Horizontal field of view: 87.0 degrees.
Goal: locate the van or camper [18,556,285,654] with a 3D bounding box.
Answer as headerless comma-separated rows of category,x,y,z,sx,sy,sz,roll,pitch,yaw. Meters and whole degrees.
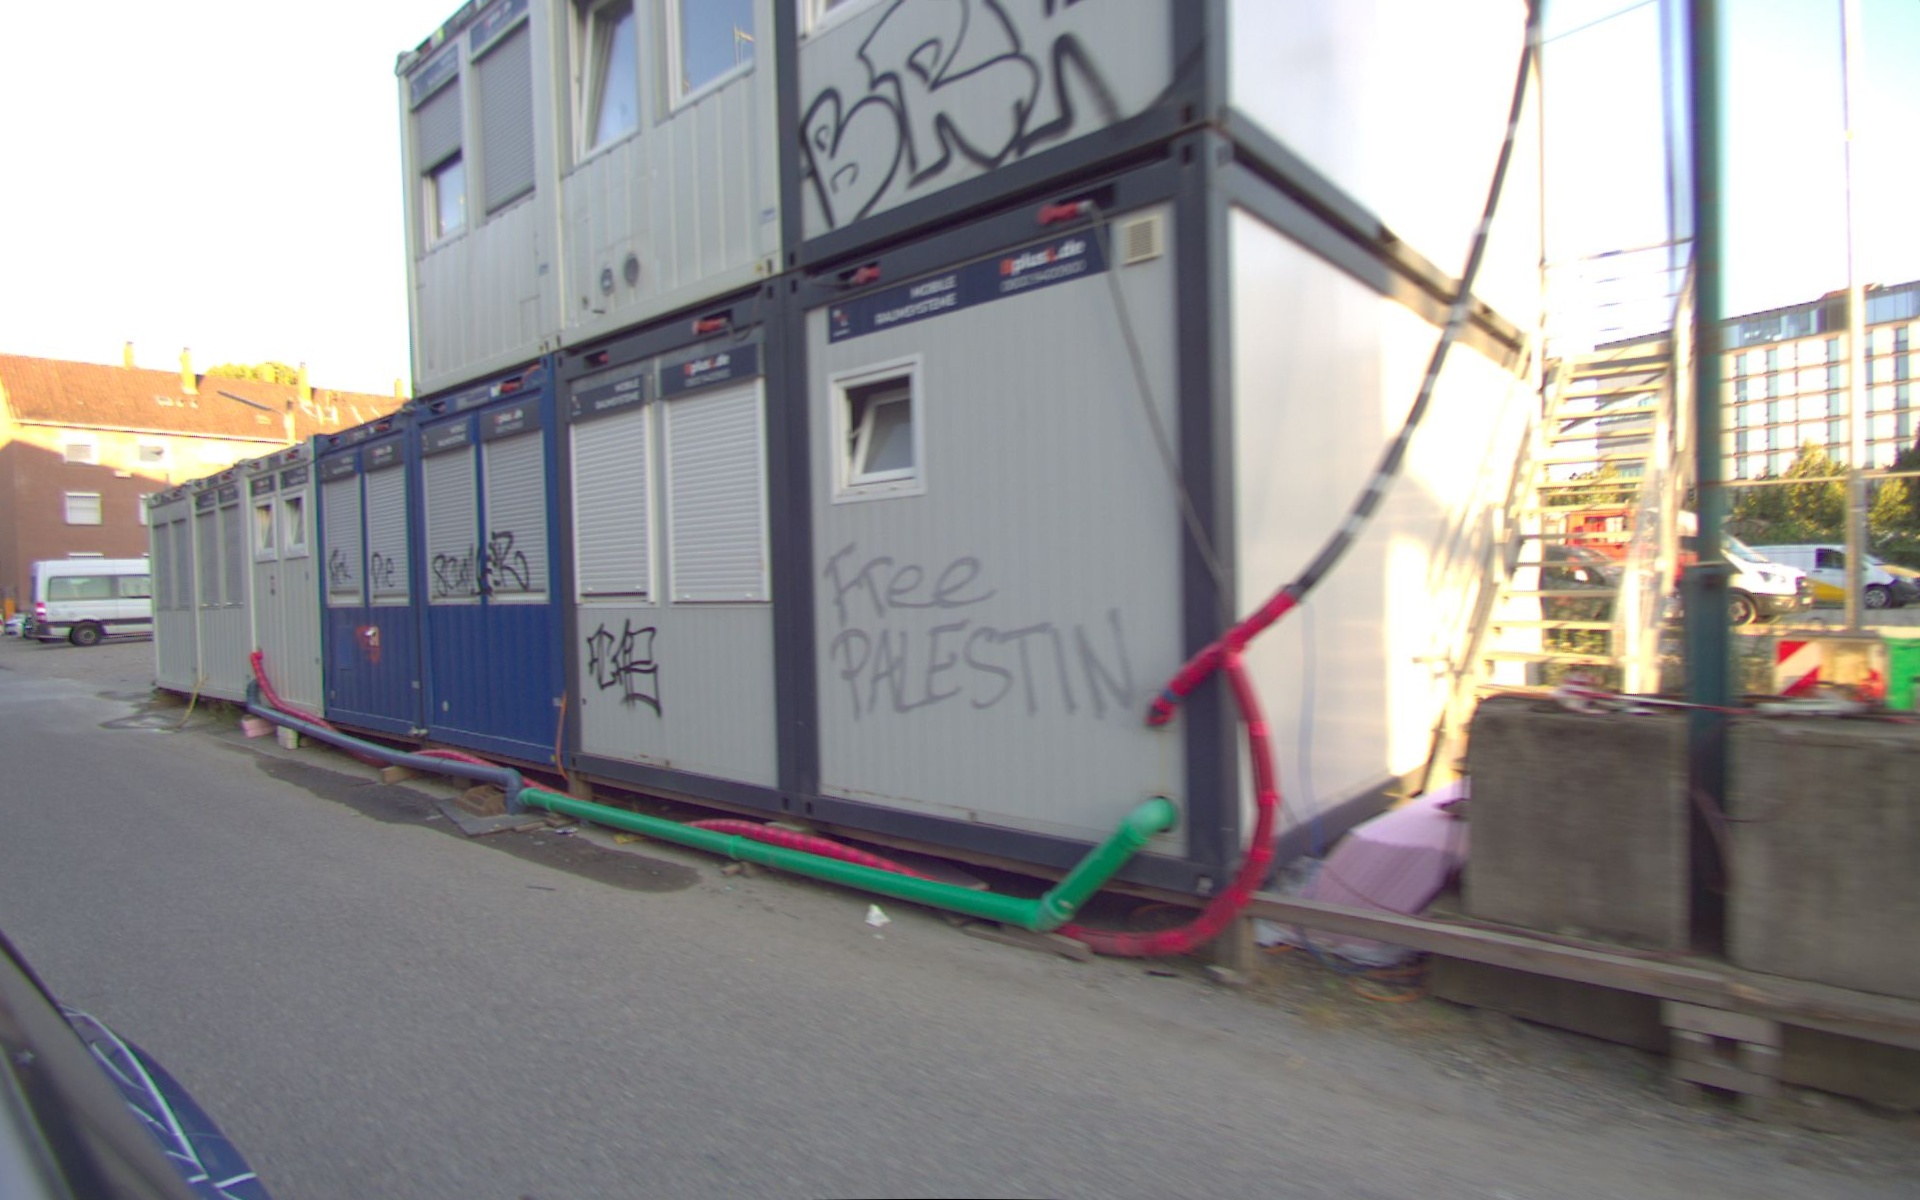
van or camper,-26.091,0.057,32.928,2.407,2.659,6.385,-1,3,43

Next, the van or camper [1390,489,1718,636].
van or camper,12.762,-0.738,22.079,5.802,2.791,2.231,0,1,44

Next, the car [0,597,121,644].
car,-35.691,0.776,39.979,1.810,1.527,3.677,-1,3,43

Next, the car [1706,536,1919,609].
car,25.257,-0.773,29.614,2.023,1.951,5.119,-2,1,-34

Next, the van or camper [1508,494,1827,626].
van or camper,16.416,-0.863,23.877,2.173,2.728,5.762,-2,1,-35

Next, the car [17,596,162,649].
car,-30.906,0.766,35.995,1.769,1.527,3.677,-1,3,43
